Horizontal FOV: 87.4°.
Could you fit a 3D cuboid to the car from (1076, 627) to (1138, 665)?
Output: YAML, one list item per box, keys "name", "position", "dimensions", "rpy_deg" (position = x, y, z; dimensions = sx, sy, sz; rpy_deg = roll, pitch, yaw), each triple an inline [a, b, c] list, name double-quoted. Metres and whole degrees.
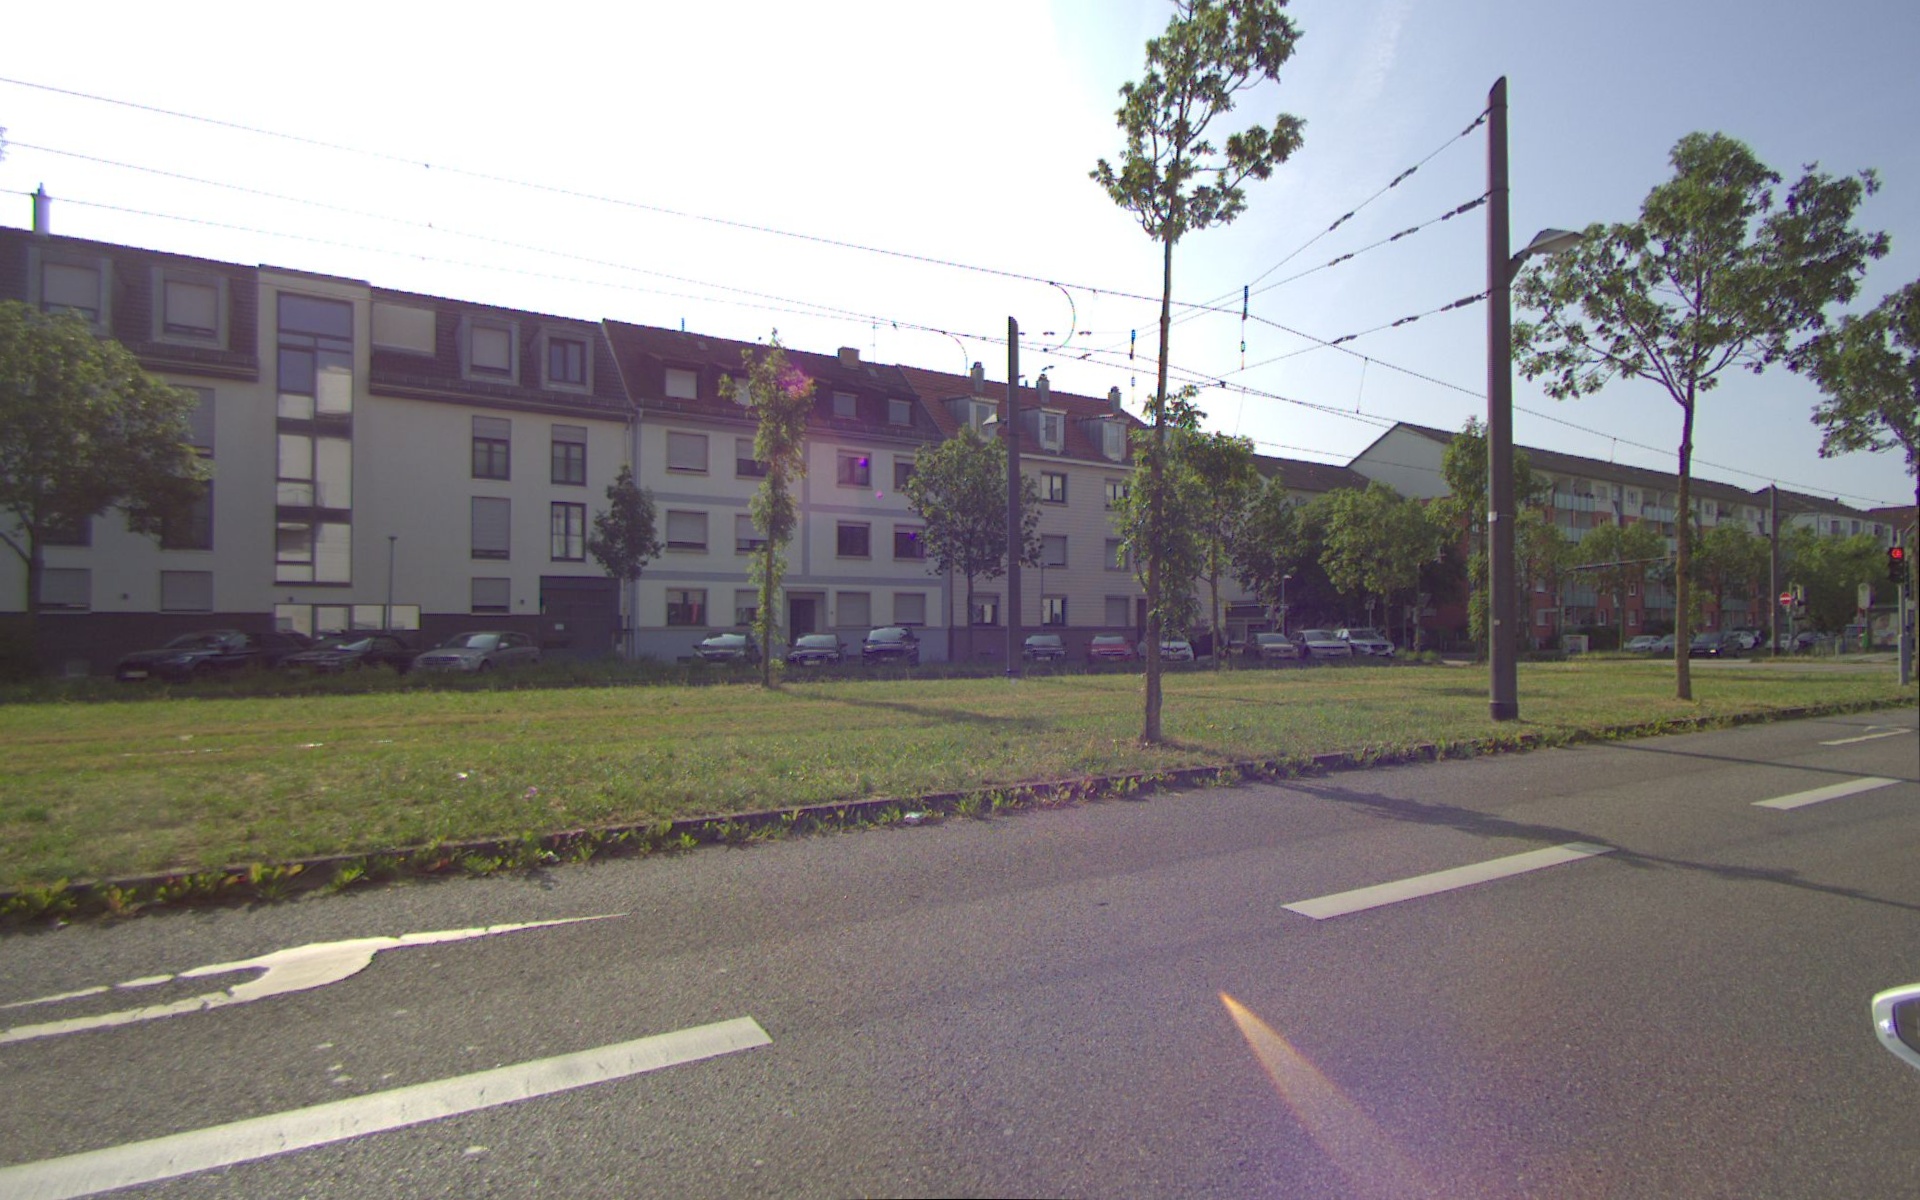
- name: "car"
  position: [5.663, 1.754, 39.153]
  dimensions: [1.839, 1.275, 4.000]
  rpy_deg: [1, 0, 0]

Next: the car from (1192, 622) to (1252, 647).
- name: "car"
  position: [18.825, 2.492, 72.436]
  dimensions: [1.975, 1.627, 3.968]
  rpy_deg: [1, 0, -30]

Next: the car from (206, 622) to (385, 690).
- name: "car"
  position: [-15.841, 1.284, 24.222]
  dimensions: [1.891, 1.394, 3.997]
  rpy_deg: [1, 0, -5]

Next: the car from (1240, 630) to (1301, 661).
- name: "car"
  position: [13.867, 2.005, 45.059]
  dimensions: [1.959, 1.194, 4.002]
  rpy_deg: [1, 0, 8]

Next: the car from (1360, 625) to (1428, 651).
- name: "car"
  position: [30.329, 2.656, 70.257]
  dimensions: [1.978, 1.717, 3.966]
  rpy_deg: [1, -1, -31]

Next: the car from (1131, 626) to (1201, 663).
- name: "car"
  position: [8.286, 1.776, 40.808]
  dimensions: [1.850, 1.286, 3.998]
  rpy_deg: [1, 0, -3]

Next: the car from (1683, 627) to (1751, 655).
- name: "car"
  position: [48.181, 2.579, 63.900]
  dimensions: [4.661, 1.728, 1.983]
  rpy_deg: [1, -1, -32]

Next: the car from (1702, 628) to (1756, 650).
- name: "car"
  position: [58.841, 2.975, 76.861]
  dimensions: [4.490, 1.577, 1.968]
  rpy_deg: [1, 0, -34]

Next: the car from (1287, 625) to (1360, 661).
- name: "car"
  position: [16.463, 1.937, 45.742]
  dimensions: [1.960, 1.534, 4.467]
  rpy_deg: [0, -1, 4]

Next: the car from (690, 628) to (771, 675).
- name: "car"
  position: [-6.853, 1.516, 30.393]
  dimensions: [1.963, 1.305, 3.996]
  rpy_deg: [1, -1, -7]

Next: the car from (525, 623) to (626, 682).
- name: "car"
  position: [-10.334, 1.380, 27.280]
  dimensions: [1.633, 1.394, 3.777]
  rpy_deg: [1, 0, -7]

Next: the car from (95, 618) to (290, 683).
- name: "car"
  position: [-18.010, 1.147, 23.849]
  dimensions: [1.801, 1.394, 3.997]
  rpy_deg: [1, -1, -5]

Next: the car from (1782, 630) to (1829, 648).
- name: "car"
  position: [71.466, 3.288, 84.894]
  dimensions: [4.027, 1.378, 1.969]
  rpy_deg: [1, 0, -34]

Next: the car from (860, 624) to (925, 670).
- name: "car"
  position: [-2.257, 1.493, 33.076]
  dimensions: [1.962, 1.305, 4.056]
  rpy_deg: [1, 0, -5]

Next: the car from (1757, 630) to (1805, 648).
- name: "car"
  position: [67.098, 3.180, 82.089]
  dimensions: [4.027, 1.378, 1.969]
  rpy_deg: [1, 0, -34]

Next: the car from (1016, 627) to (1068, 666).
- name: "car"
  position: [2.998, 1.700, 37.355]
  dimensions: [1.666, 1.251, 4.000]
  rpy_deg: [1, 0, 1]

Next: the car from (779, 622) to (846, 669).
- name: "car"
  position: [-4.676, 1.412, 32.225]
  dimensions: [1.963, 1.305, 3.996]
  rpy_deg: [1, 0, -7]

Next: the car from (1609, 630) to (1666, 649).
- name: "car"
  position: [45.883, 2.650, 67.989]
  dimensions: [4.121, 1.163, 1.822]
  rpy_deg: [1, 0, -34]

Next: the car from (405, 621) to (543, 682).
- name: "car"
  position: [-12.866, 1.322, 26.898]
  dimensions: [1.963, 1.394, 4.335]
  rpy_deg: [1, 0, -7]

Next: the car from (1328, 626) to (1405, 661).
- name: "car"
  position: [19.324, 2.035, 47.951]
  dimensions: [1.925, 1.483, 4.353]
  rpy_deg: [1, 0, 1]

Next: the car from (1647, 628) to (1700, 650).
- name: "car"
  position: [50.639, 2.770, 71.304]
  dimensions: [3.787, 1.490, 1.822]
  rpy_deg: [1, 0, -34]

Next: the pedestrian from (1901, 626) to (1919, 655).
- name: "pedestrian"
  position: [56.269, 2.380, 59.490]
  dimensions: [0.787, 1.675, 0.666]
  rpy_deg: [1, -2, -37]
